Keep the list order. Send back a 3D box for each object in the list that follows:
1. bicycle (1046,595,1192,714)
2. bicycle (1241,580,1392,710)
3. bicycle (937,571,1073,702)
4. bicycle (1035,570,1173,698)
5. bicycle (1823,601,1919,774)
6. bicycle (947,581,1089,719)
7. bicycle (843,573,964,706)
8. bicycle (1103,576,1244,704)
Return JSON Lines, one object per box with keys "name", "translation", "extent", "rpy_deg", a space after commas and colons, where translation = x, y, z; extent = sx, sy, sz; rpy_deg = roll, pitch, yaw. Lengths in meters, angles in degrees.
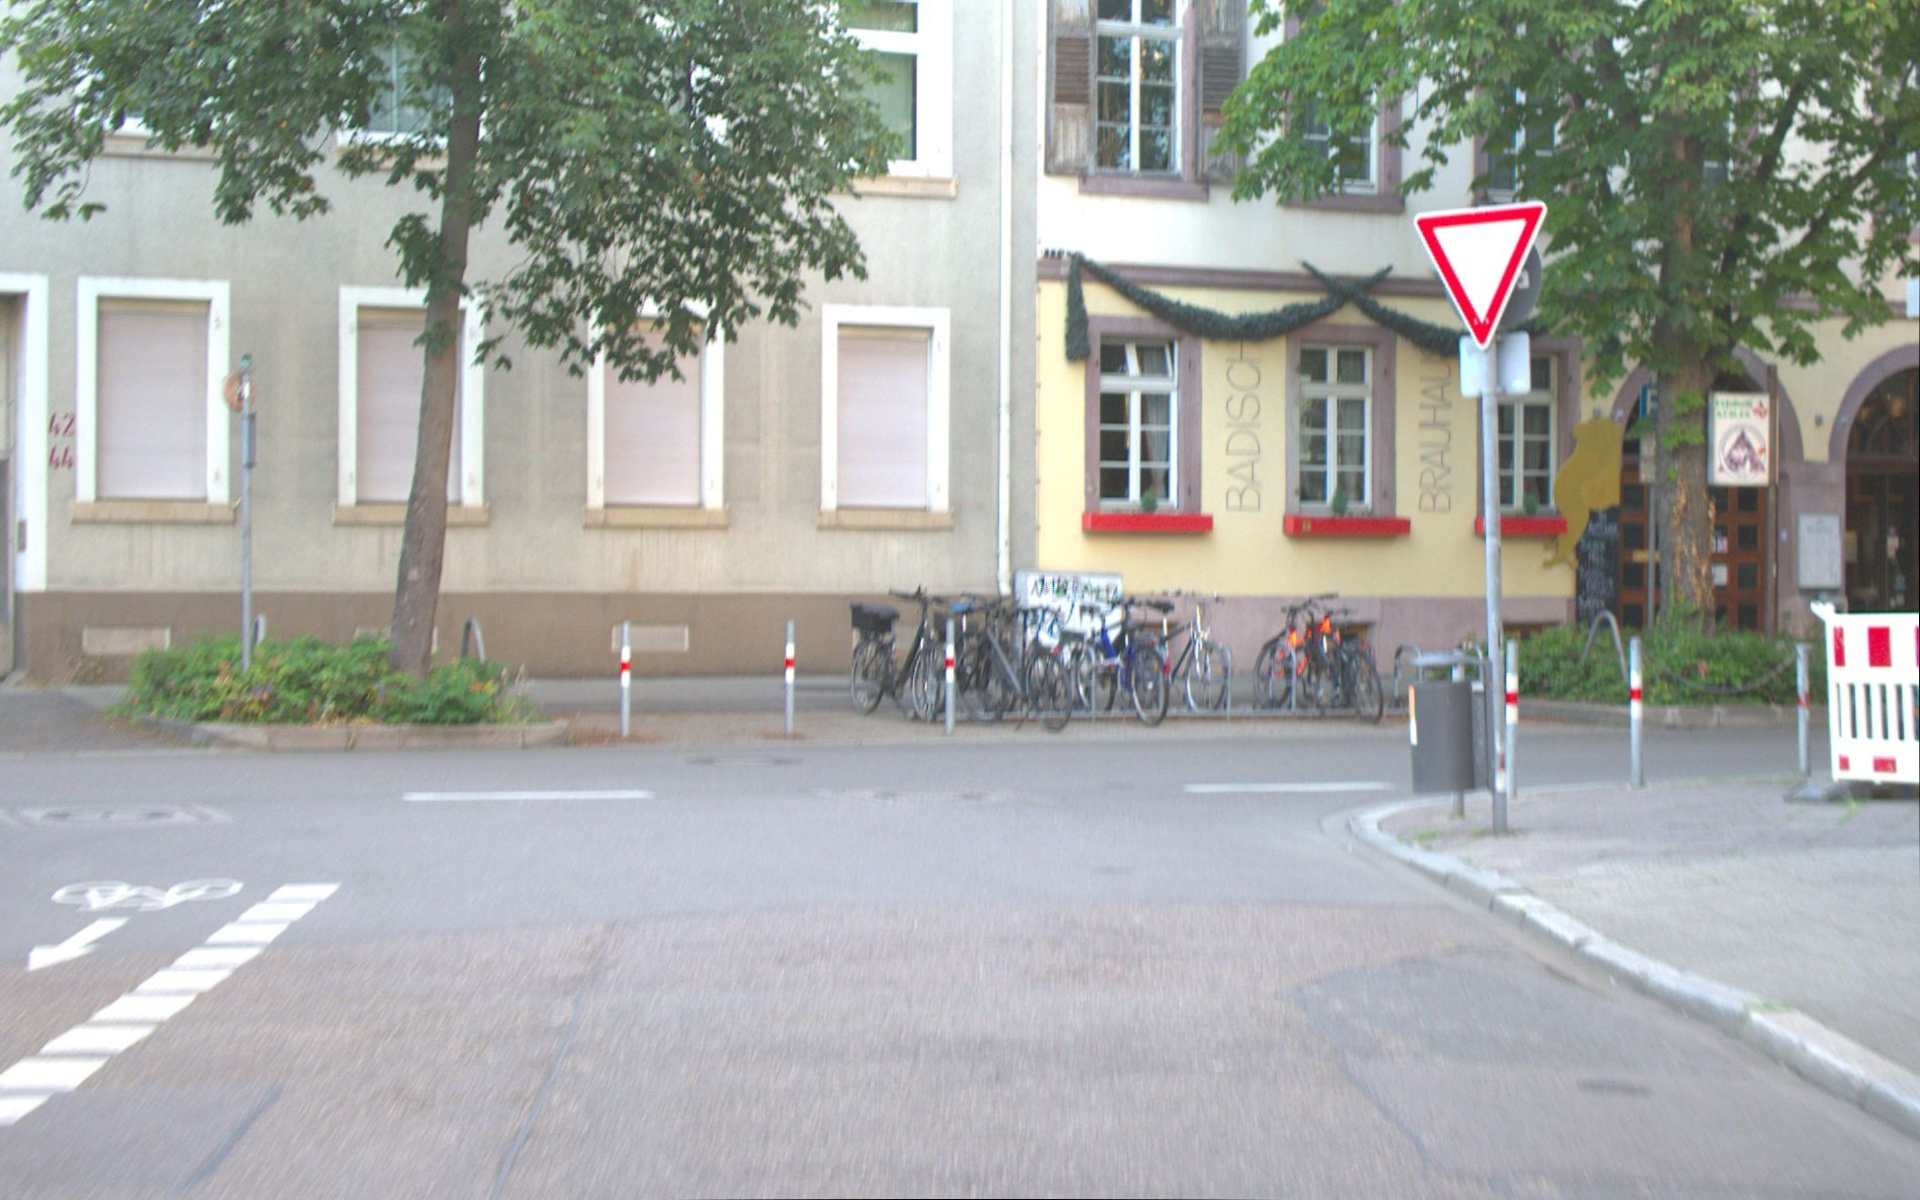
{"name": "bicycle", "translation": [1.421, 0.472, 31.115], "extent": [0.420, 1.000, 2.043], "rpy_deg": [0, 1, -25]}
{"name": "bicycle", "translation": [3.332, 0.404, 32.279], "extent": [0.420, 1.141, 2.043], "rpy_deg": [0, 1, -25]}
{"name": "bicycle", "translation": [0.400, 0.319, 31.889], "extent": [0.420, 1.141, 2.043], "rpy_deg": [0, 1, -25]}
{"name": "bicycle", "translation": [1.347, 0.304, 32.583], "extent": [0.420, 1.141, 2.043], "rpy_deg": [0, 1, -25]}
{"name": "bicycle", "translation": [6.528, 0.548, 22.459], "extent": [1.864, 1.085, 0.364], "rpy_deg": [-1, 0, -23]}
{"name": "bicycle", "translation": [0.494, 0.422, 30.318], "extent": [0.445, 1.141, 2.043], "rpy_deg": [0, 1, -23]}
{"name": "bicycle", "translation": [-0.536, 0.343, 31.484], "extent": [0.445, 1.141, 2.043], "rpy_deg": [0, 1, -20]}
{"name": "bicycle", "translation": [2.018, 0.363, 32.798], "extent": [0.420, 1.141, 2.043], "rpy_deg": [0, 1, -25]}
